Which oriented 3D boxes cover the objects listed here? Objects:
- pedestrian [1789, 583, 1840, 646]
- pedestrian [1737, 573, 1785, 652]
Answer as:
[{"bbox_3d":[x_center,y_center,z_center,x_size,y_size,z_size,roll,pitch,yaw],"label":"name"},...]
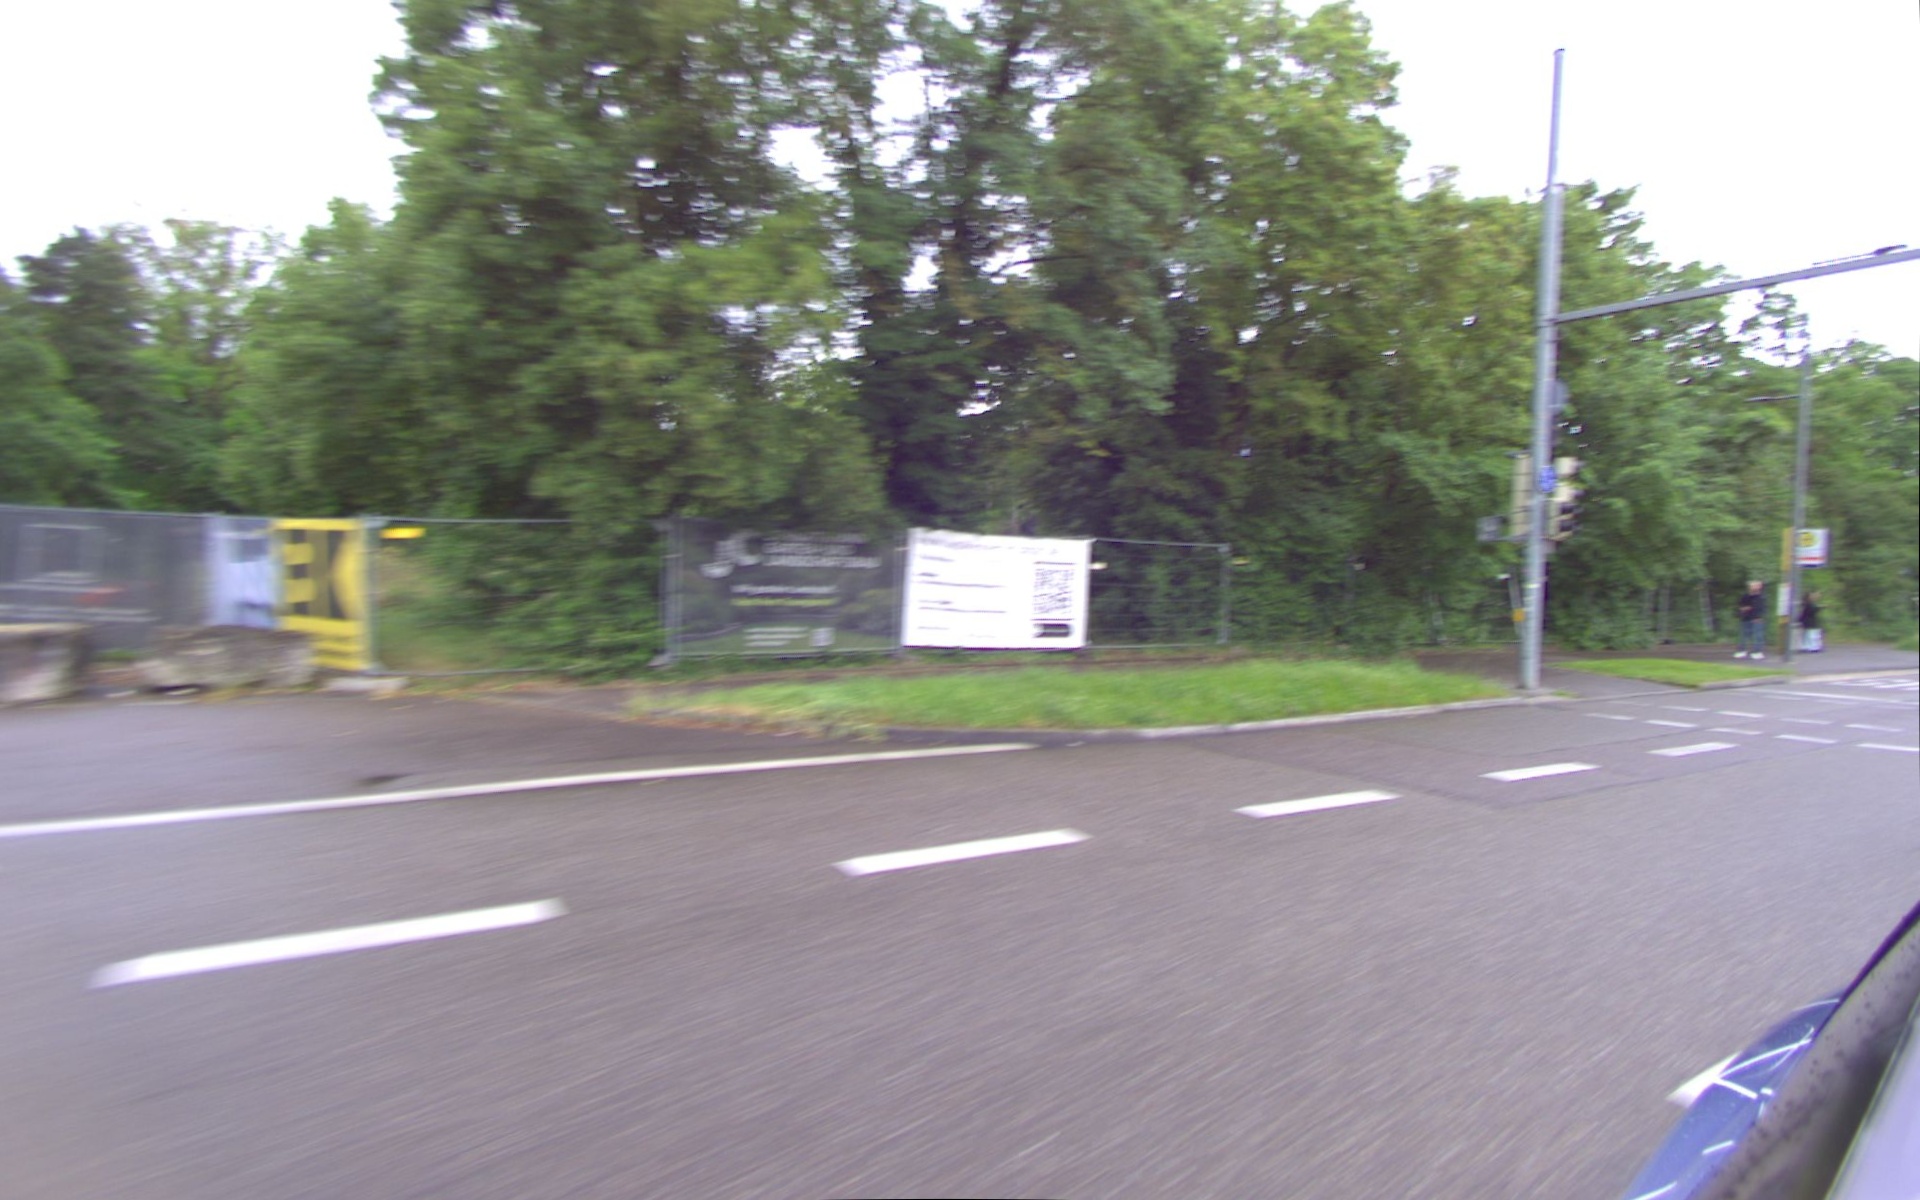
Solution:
[{"bbox_3d":[23.857,0.397,28.243,0.815,1.696,0.823,1,2,-32],"label":"pedestrian"},{"bbox_3d":[19.635,0.296,24.813,0.686,1.907,0.678,1,2,-32],"label":"pedestrian"}]
